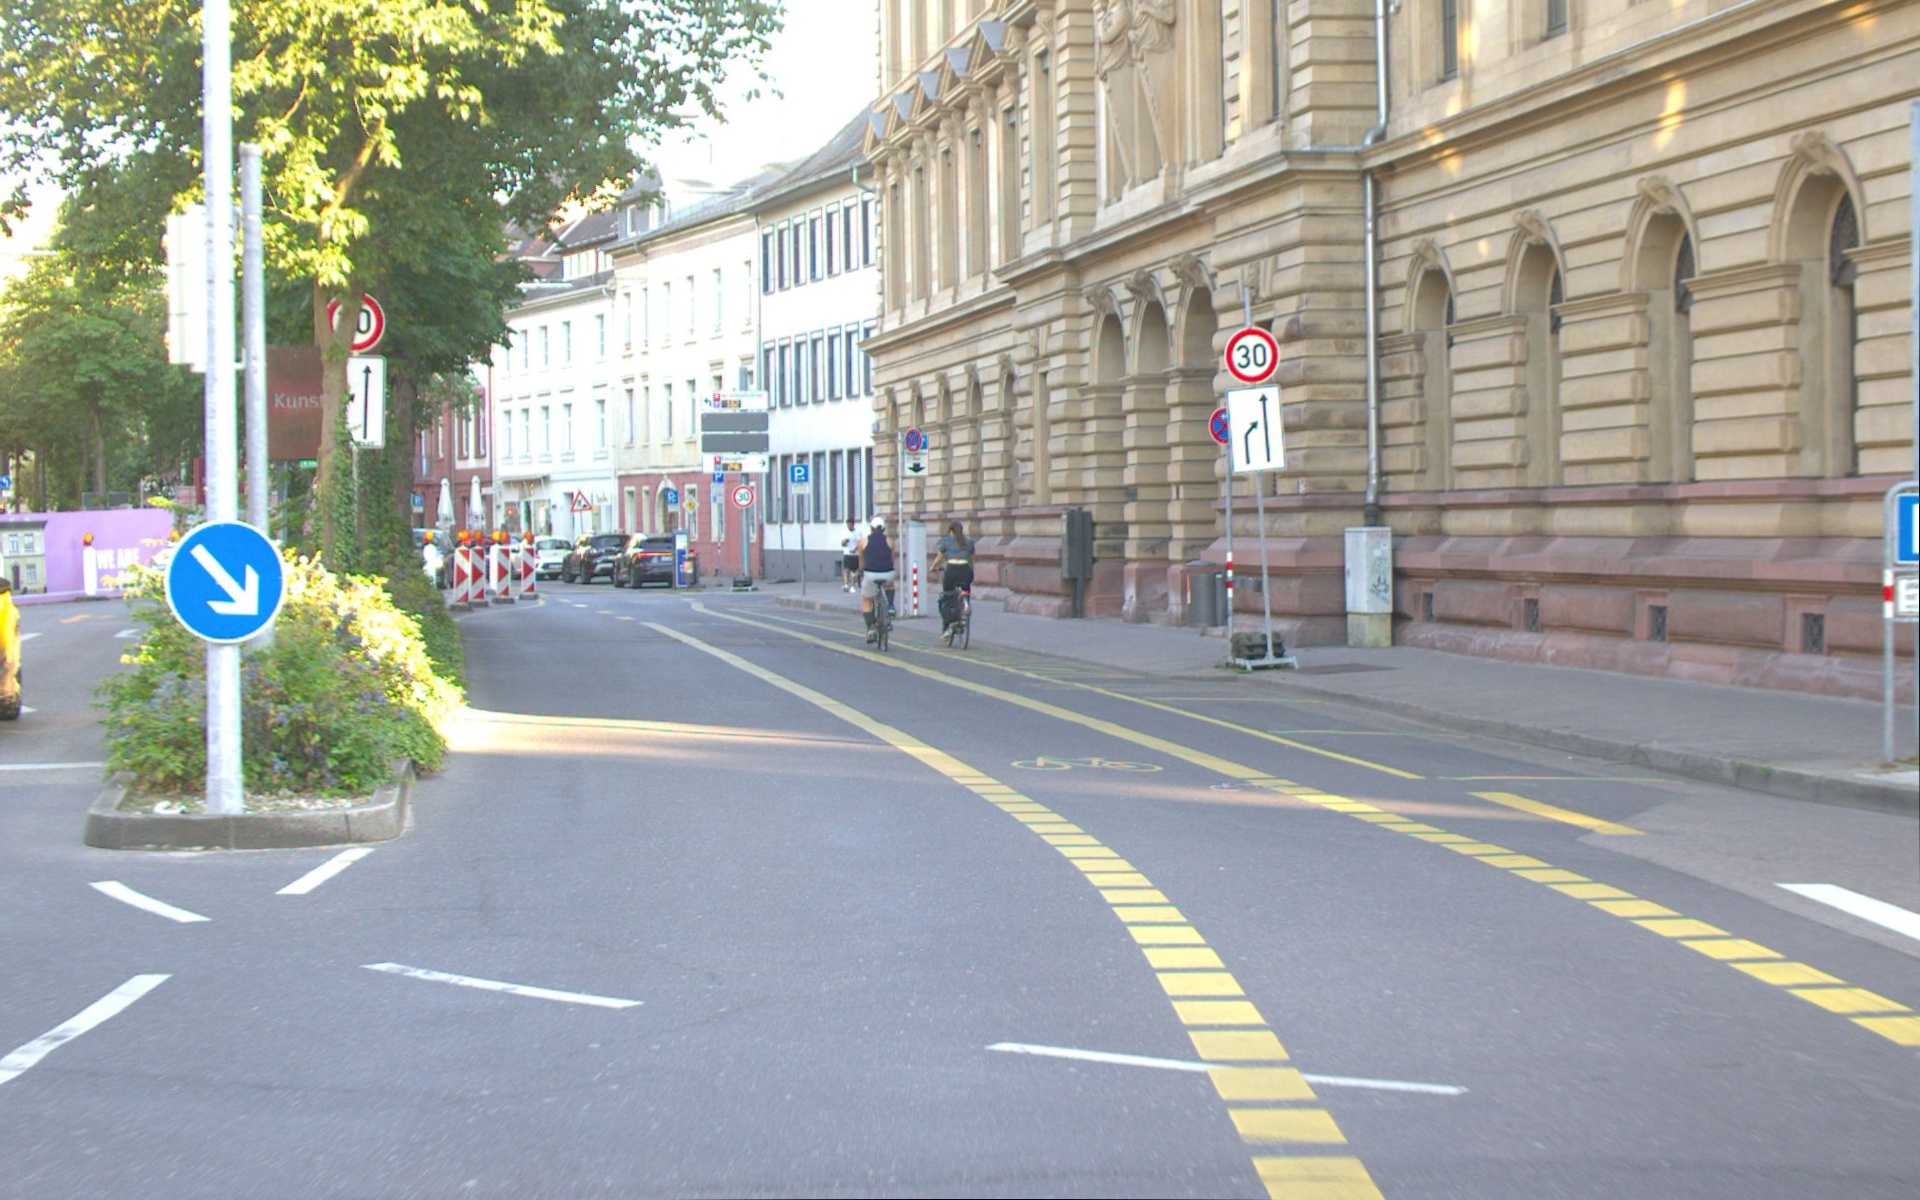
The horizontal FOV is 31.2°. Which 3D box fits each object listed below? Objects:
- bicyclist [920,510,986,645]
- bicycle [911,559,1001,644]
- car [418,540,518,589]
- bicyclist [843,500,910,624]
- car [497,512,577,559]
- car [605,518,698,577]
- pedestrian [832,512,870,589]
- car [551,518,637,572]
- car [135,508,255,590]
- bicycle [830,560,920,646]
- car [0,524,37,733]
[{"bbox_3d":[-0.097,-0.304,45.638,0.649,1.754,0.864,1,1,-14],"label":"bicyclist"},{"bbox_3d":[-0.066,0.010,45.462,0.652,1.067,2.259,1,1,-14],"label":"bicycle"},{"bbox_3d":[-15.952,-1.146,111.313,1.812,1.554,3.865,-1,1,-31],"label":"car"},{"bbox_3d":[-1.077,-0.489,44.235,0.668,1.560,0.699,1,0,-16],"label":"bicyclist"},{"bbox_3d":[-14.403,-2.179,116.900,1.812,1.554,3.866,-1,1,-21],"label":"car"},{"bbox_3d":[-9.120,-1.552,101.401,1.812,1.676,3.920,0,1,-20],"label":"car"},{"bbox_3d":[-2.532,-1.153,79.773,0.816,1.759,1.038,1,1,-5],"label":"pedestrian"},{"bbox_3d":[-11.634,-1.741,109.145,1.812,1.678,4.001,0,1,-20],"label":"car"},{"bbox_3d":[-16.659,-1.131,75.016,1.842,1.668,4.557,-2,1,-4],"label":"car"},{"bbox_3d":[-1.108,0.029,44.301,0.669,1.067,1.902,1,1,-16],"label":"bicycle"},{"bbox_3d":[-8.125,0.213,25.893,1.845,1.542,4.120,-1,1,-9],"label":"car"}]
